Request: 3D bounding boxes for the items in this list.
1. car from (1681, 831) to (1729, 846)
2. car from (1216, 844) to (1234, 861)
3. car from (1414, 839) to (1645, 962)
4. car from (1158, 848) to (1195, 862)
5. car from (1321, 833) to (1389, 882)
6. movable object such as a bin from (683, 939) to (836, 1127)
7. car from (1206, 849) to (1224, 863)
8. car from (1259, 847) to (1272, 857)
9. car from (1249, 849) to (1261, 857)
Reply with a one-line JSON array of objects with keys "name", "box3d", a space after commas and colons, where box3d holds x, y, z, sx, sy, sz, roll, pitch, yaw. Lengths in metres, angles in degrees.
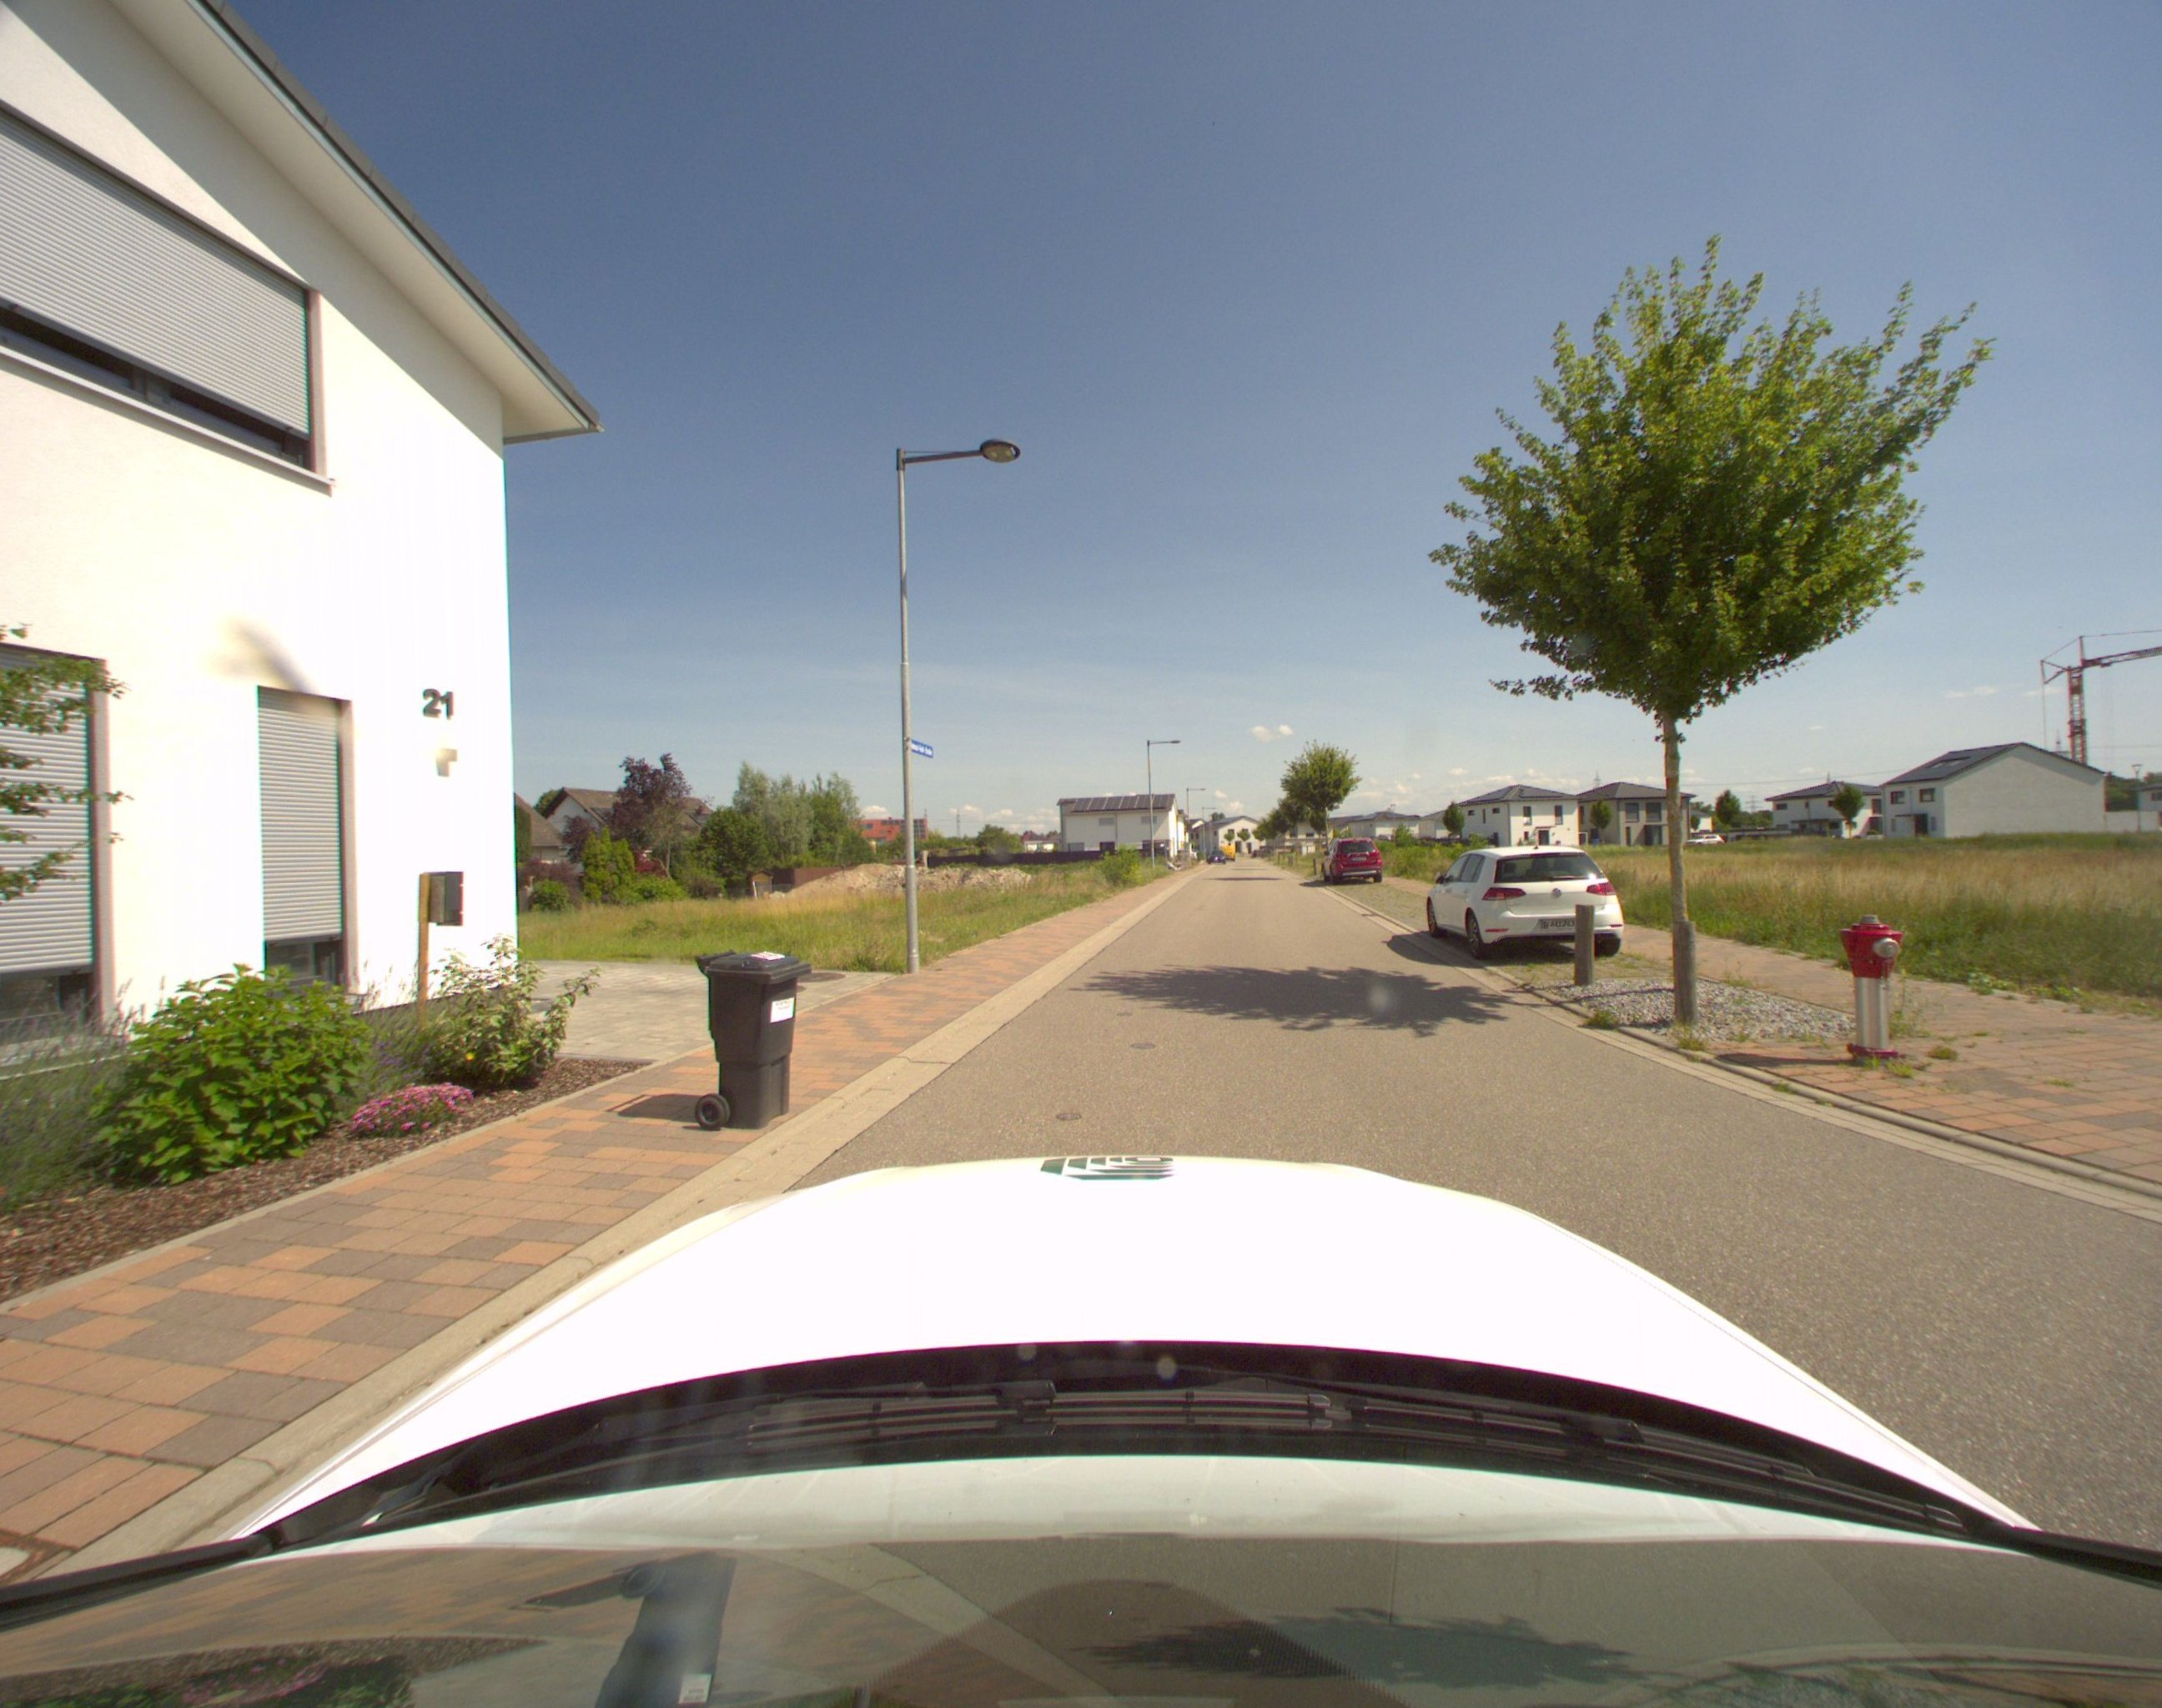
[{"name": "car", "box3d": [68.683, -1.687, 89.693, 3.978, 1.398, 1.748, -2, -1, -3]}, {"name": "car", "box3d": [18.284, -0.155, 103.354, 1.931, 1.981, 4.225, -2, -1, 7]}, {"name": "car", "box3d": [6.340, 0.554, 12.088, 1.764, 1.420, 4.179, -4, 0, 11]}, {"name": "car", "box3d": [11.166, 0.137, 94.834, 4.037, 1.581, 1.792, 0, 1, 16]}, {"name": "car", "box3d": [10.408, 0.104, 31.206, 1.766, 1.663, 4.447, -3, 0, 10]}, {"name": "movable object such as a bin", "box3d": [-1.794, 0.981, 4.592, 0.620, 0.948, 0.501, -2, -1, 6]}, {"name": "car", "box3d": [13.834, 0.212, 83.714, 1.734, 1.405, 4.172, 0, 0, 10]}, {"name": "car", "box3d": [27.642, -0.240, 122.098, 1.629, 1.403, 3.821, -2, -2, 10]}, {"name": "car", "box3d": [30.016, -0.166, 140.646, 1.620, 1.322, 3.837, -2, -2, 4]}]
